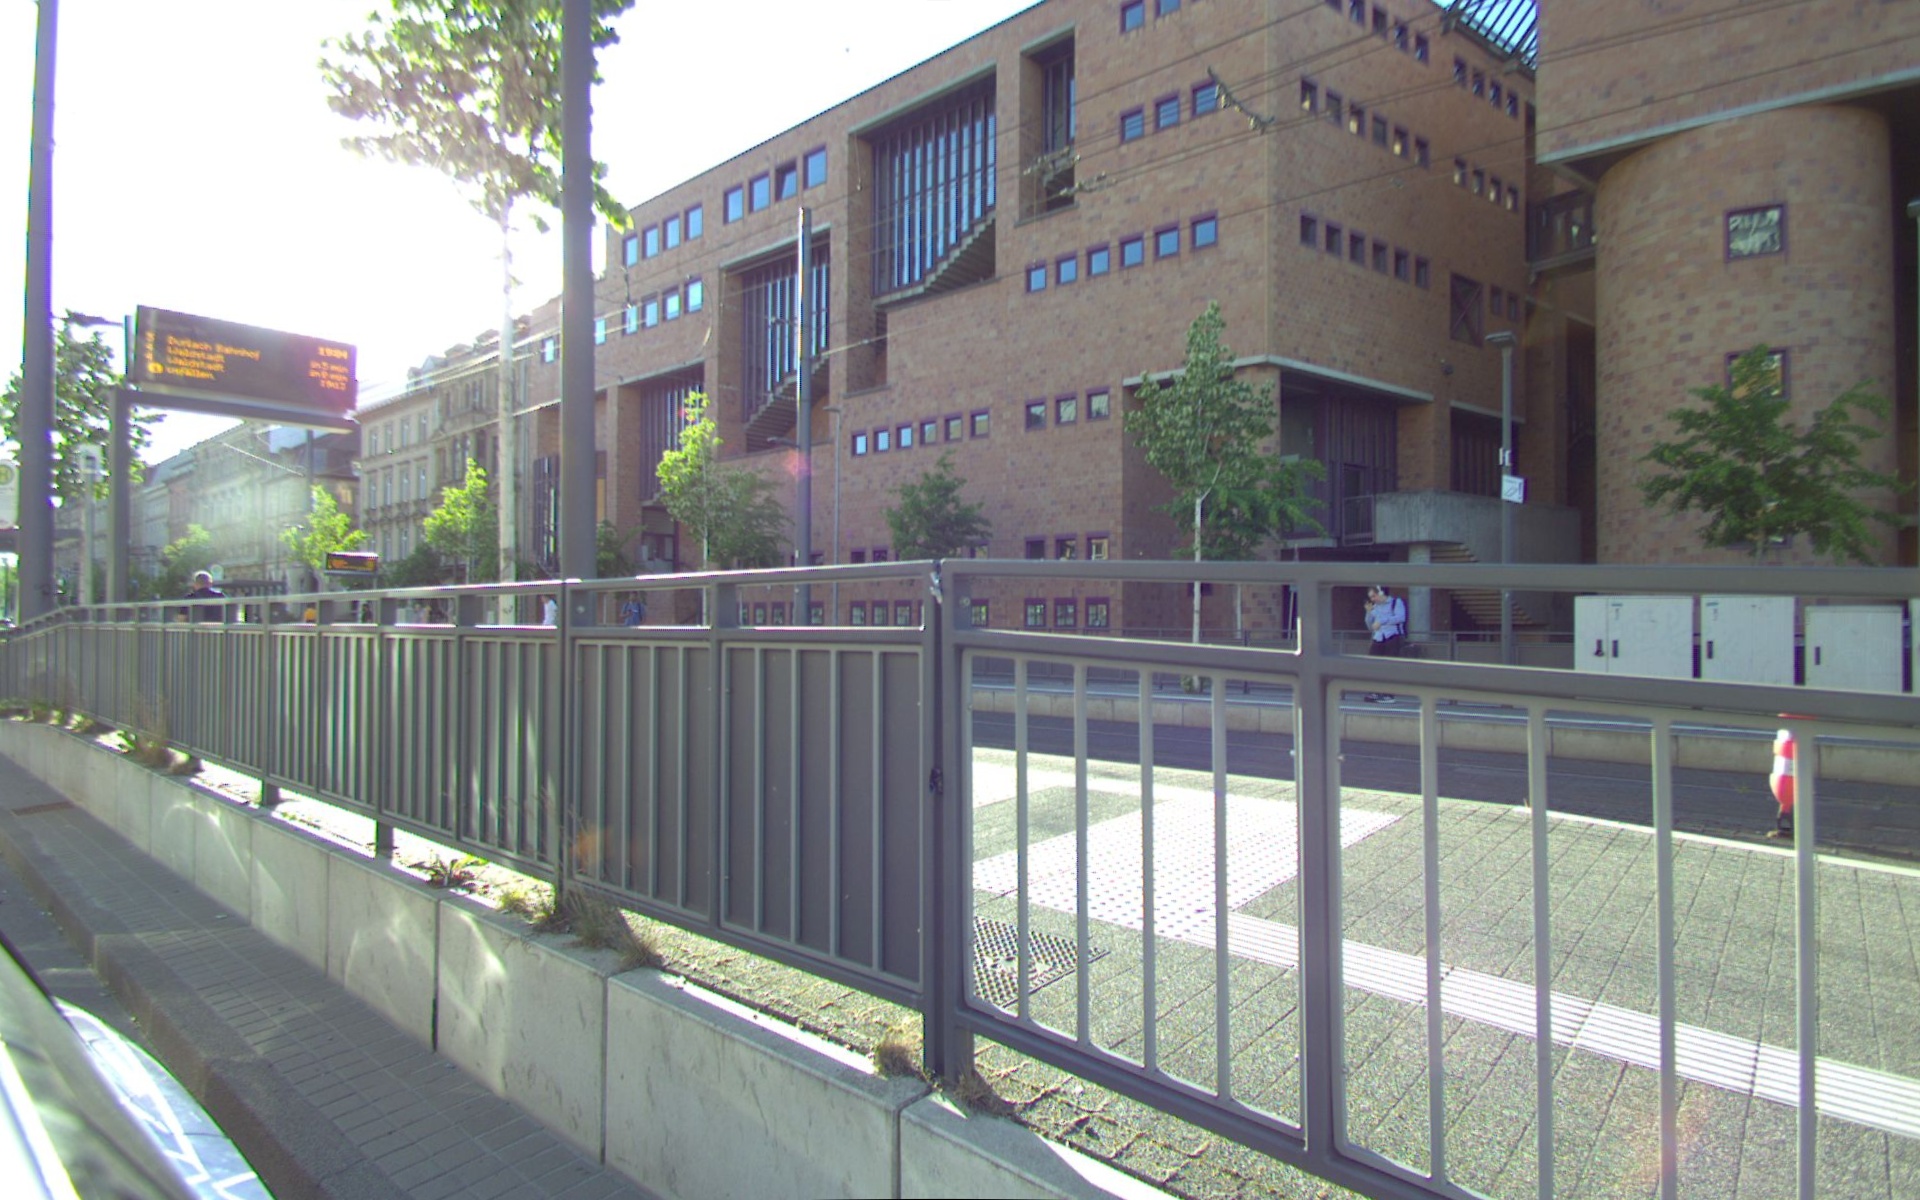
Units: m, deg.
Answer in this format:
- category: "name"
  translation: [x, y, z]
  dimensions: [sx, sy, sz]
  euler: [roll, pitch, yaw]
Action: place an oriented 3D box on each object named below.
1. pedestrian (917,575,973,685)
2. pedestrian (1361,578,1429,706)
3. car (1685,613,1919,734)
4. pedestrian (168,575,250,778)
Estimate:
- category: "pedestrian"
  translation: [-0.261, 0.495, 17.240]
  dimensions: [0.668, 1.821, 0.677]
  euler: [0, 0, 40]
- category: "pedestrian"
  translation: [5.779, 0.540, 13.443]
  dimensions: [0.684, 1.647, 0.660]
  euler: [0, 0, 37]
- category: "car"
  translation: [12.751, 0.985, 14.138]
  dimensions: [4.234, 1.580, 1.808]
  euler: [0, -2, 37]
- category: "pedestrian"
  translation: [-9.451, 0.926, 12.735]
  dimensions: [0.625, 2.461, 0.676]
  euler: [0, 0, 38]
